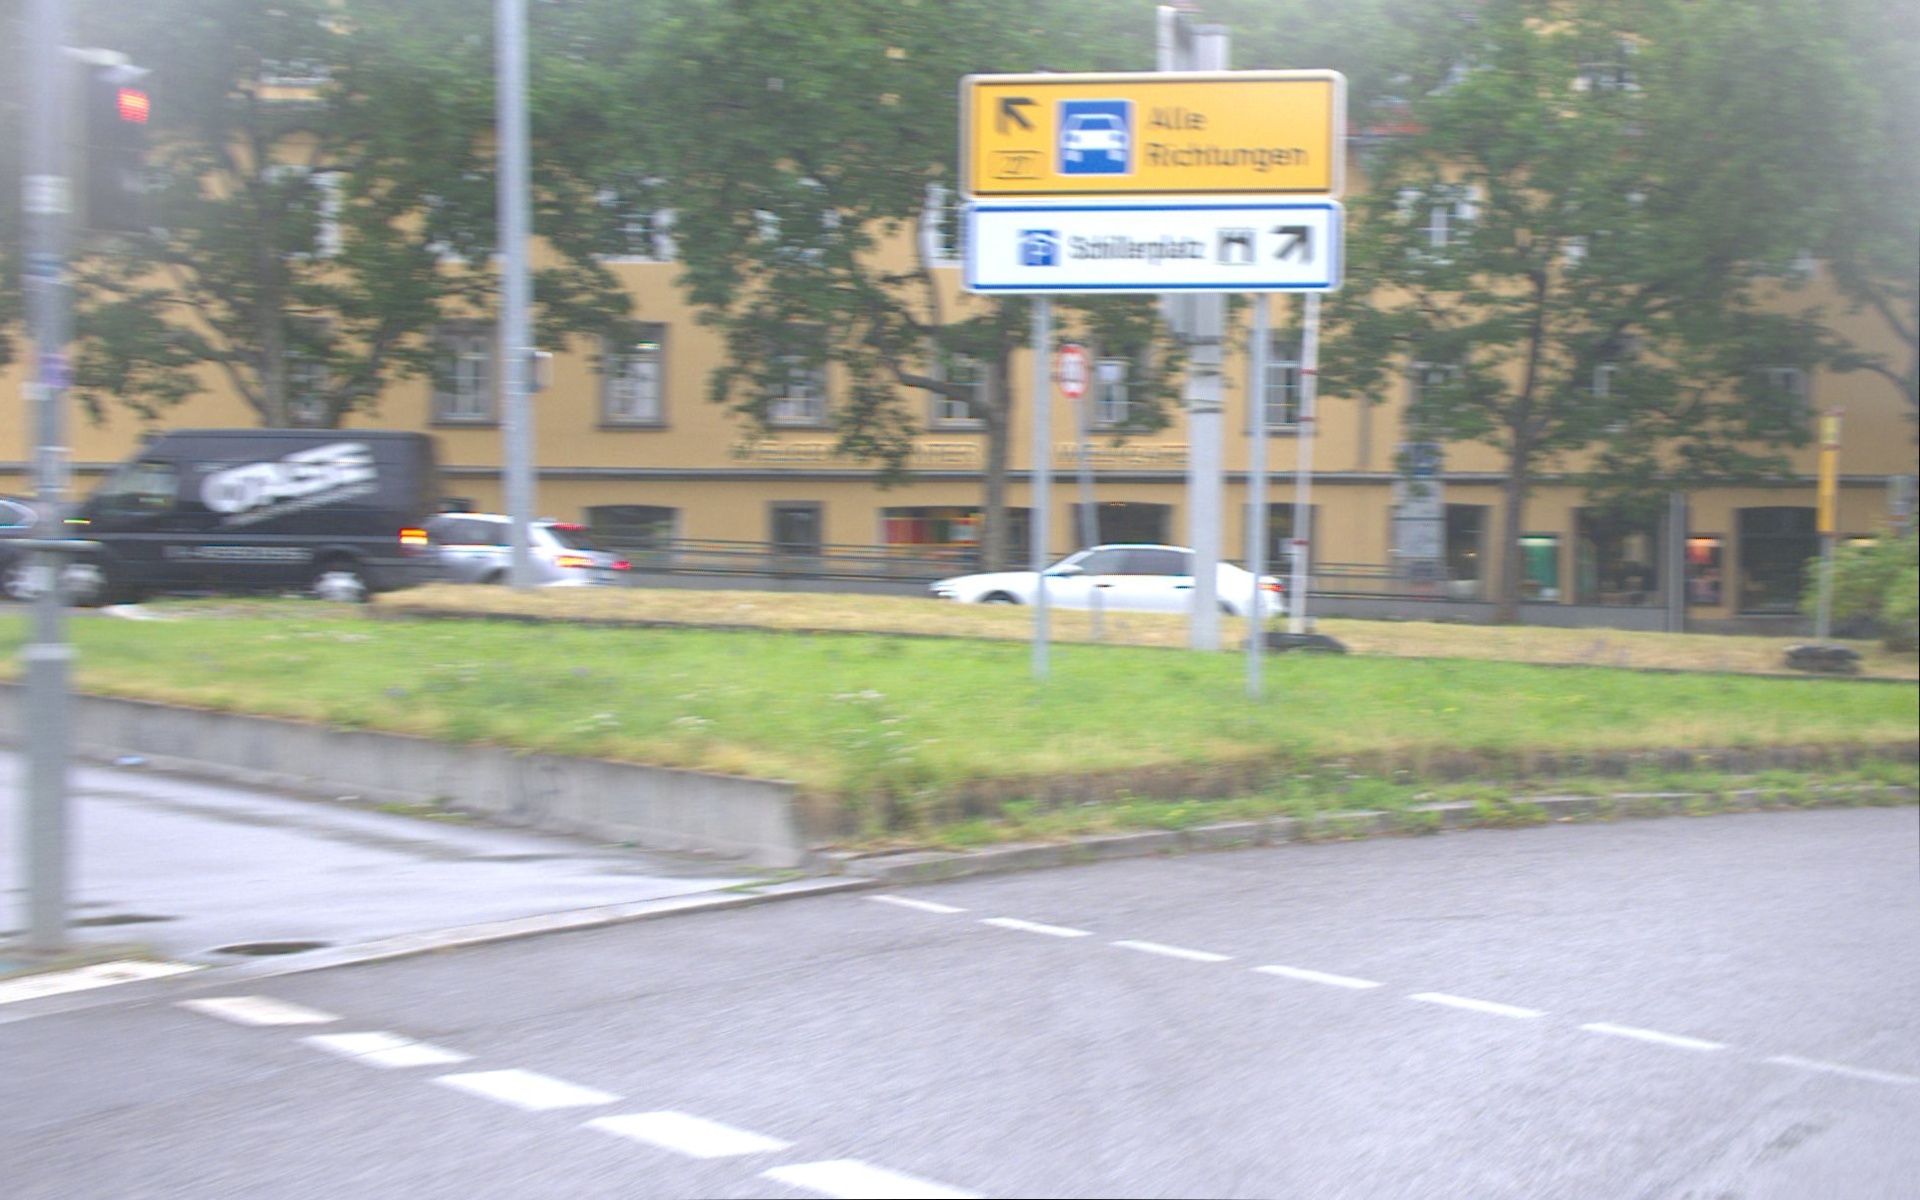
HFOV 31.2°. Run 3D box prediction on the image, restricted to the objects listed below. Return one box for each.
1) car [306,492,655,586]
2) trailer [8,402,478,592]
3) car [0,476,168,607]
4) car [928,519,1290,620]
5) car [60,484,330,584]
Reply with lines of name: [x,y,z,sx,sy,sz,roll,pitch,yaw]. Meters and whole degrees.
car: [-6.440,-0.822,46.236,4.368,1.136,1.540,2,0,16]
trailer: [-9.034,-1.270,43.559,5.460,2.249,2.000,-1,0,5]
car: [-13.526,-0.822,47.067,4.803,1.703,1.999,2,0,6]
car: [2.214,-0.449,51.807,5.285,1.357,1.557,2,0,-4]
car: [-11.234,-0.959,50.616,3.595,1.332,1.578,2,0,-1]
